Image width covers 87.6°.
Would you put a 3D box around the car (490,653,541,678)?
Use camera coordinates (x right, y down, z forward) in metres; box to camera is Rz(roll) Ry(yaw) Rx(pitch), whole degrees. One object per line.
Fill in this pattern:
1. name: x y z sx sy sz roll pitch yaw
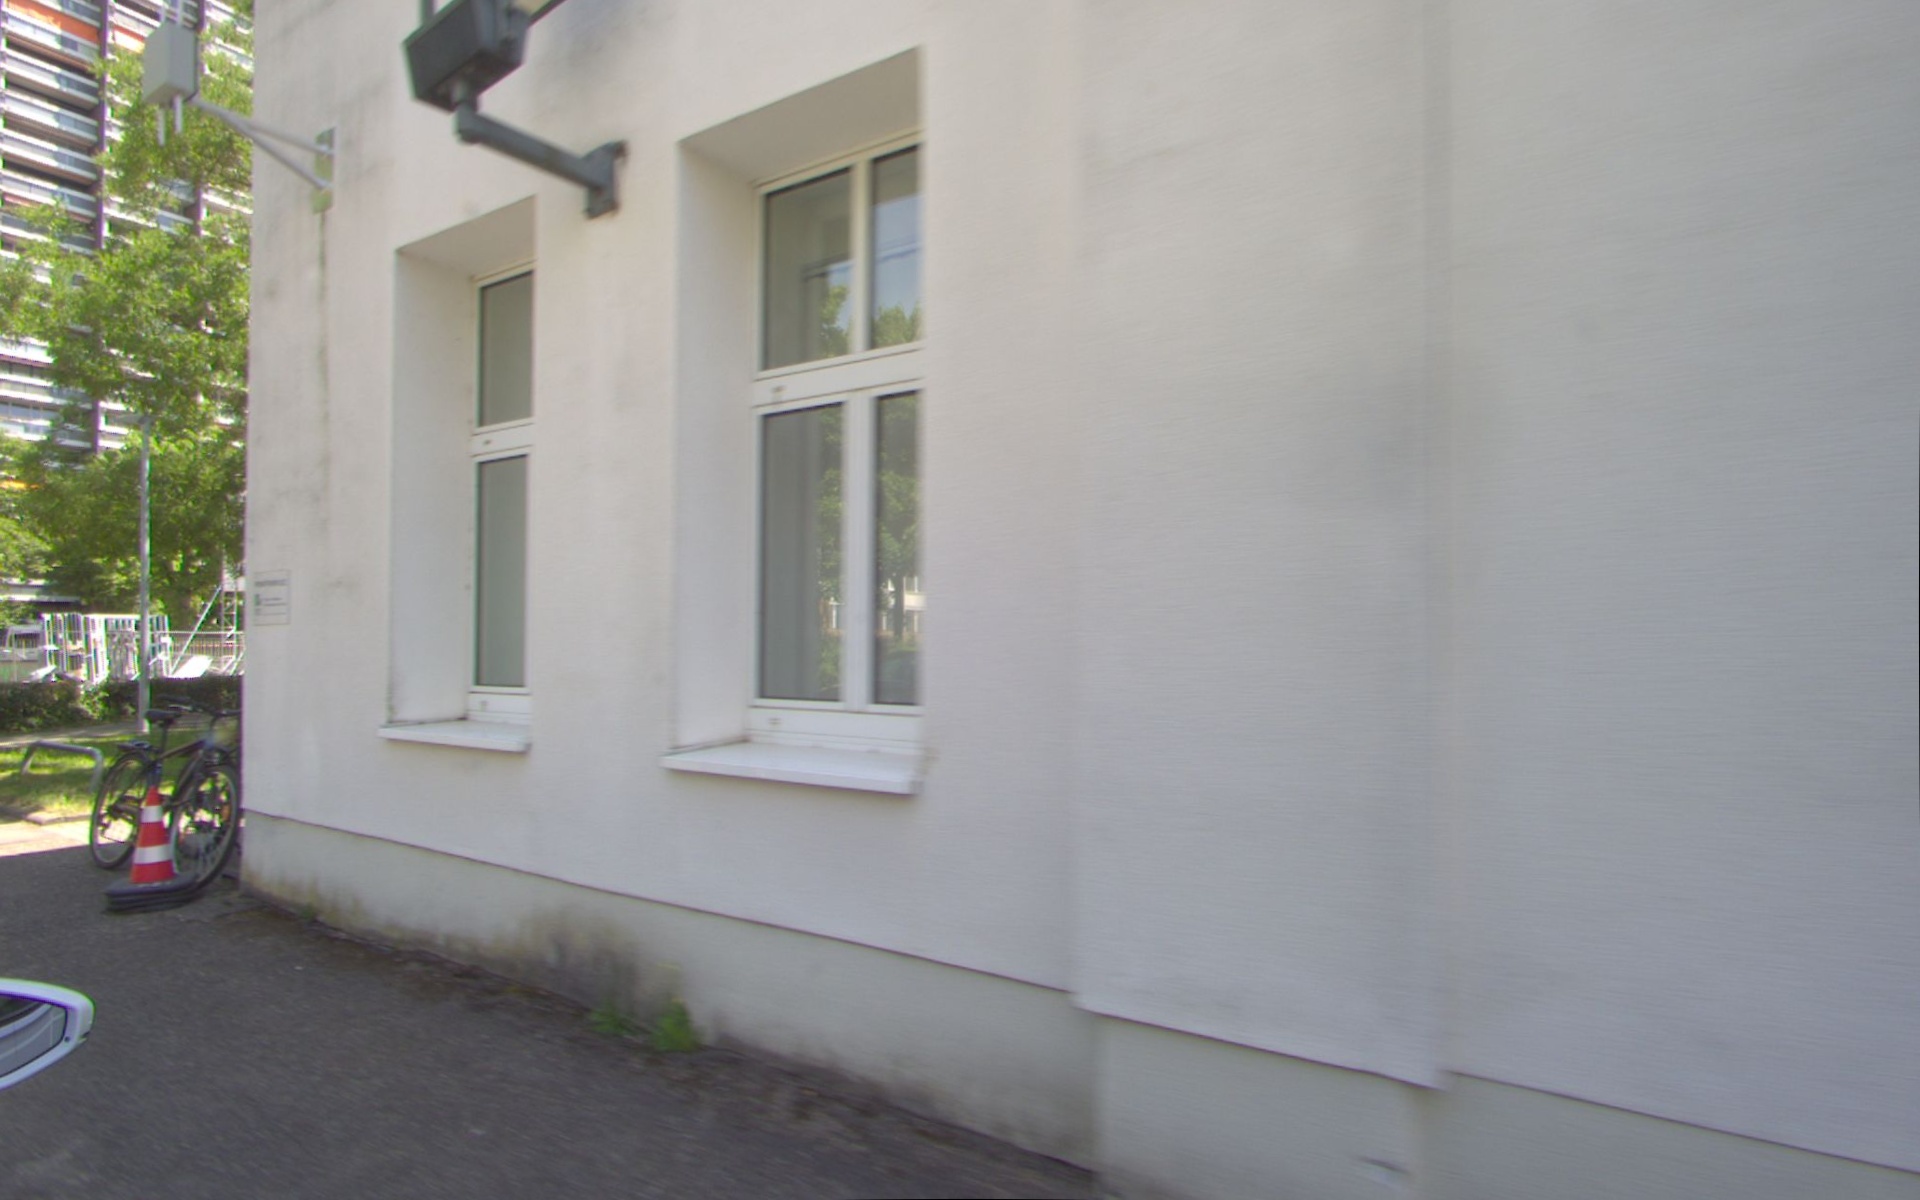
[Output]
1. car: -24.623 3.587 55.447 1.896 1.326 3.906 2 -3 -35

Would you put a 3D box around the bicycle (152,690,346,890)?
1. bicycle: -4.666 1.168 6.526 1.801 1.115 0.404 -2 -3 34

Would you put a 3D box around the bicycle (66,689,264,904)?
1. bicycle: -4.878 1.125 6.106 1.801 1.115 0.404 -2 -3 34

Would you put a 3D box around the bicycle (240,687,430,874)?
1. bicycle: -4.359 1.188 6.940 1.801 1.115 0.404 -2 -3 34

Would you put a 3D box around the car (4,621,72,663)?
1. car: -53.177 2.453 57.852 2.164 2.286 4.838 1 -3 -35
